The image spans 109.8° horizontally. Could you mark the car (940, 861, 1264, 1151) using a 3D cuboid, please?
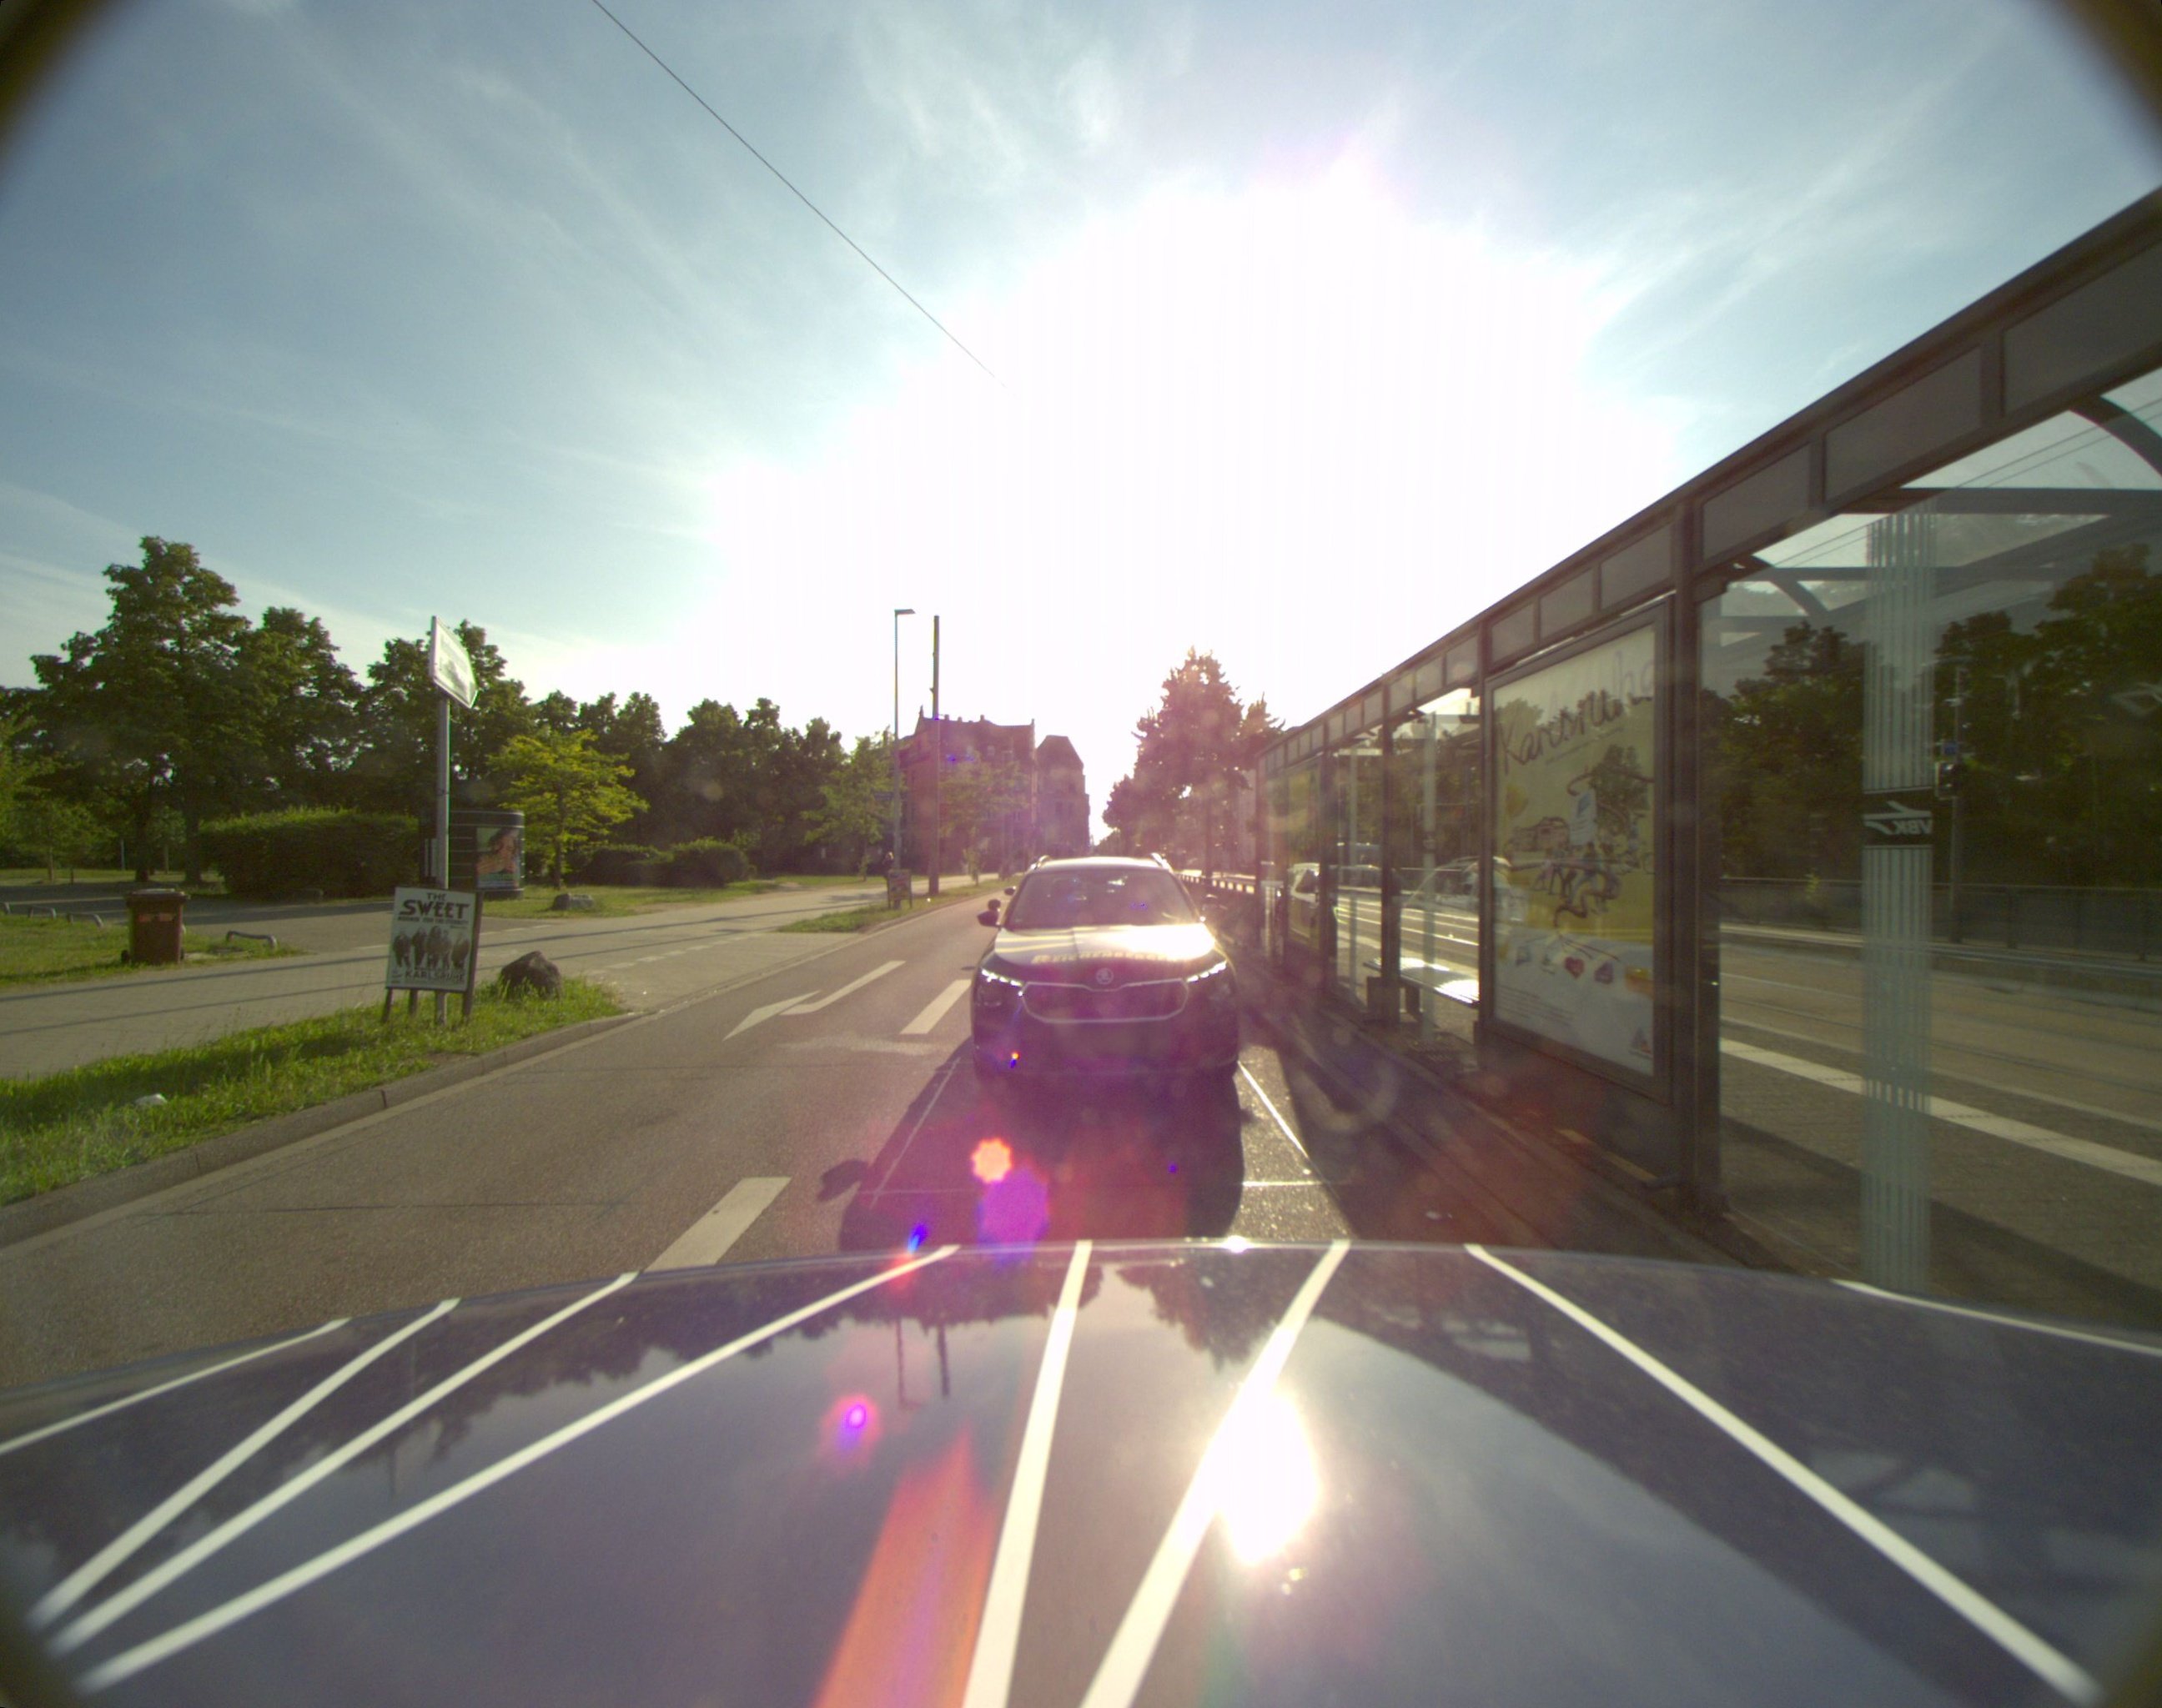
[{"bbox_3d":[0.151,0.861,6.311,1.756,1.534,4.235,-1,0,1],"label":"car"}]

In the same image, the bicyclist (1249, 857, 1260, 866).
[{"bbox_3d":[21.253,0.927,92.932,1.216,1.018,0.672,0,0,5],"label":"bicyclist"}]

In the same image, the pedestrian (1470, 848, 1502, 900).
[{"bbox_3d":[13.558,0.663,25.459,0.621,1.675,0.618,3,1,1],"label":"pedestrian"}]

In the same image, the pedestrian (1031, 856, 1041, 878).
[{"bbox_3d":[-3.080,0.882,52.154,0.637,1.512,0.845,-2,1,-1],"label":"pedestrian"}]

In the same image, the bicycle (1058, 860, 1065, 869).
[{"bbox_3d":[-1.825,0.973,70.676,0.567,0.789,2.041,0,0,0],"label":"bicycle"}]

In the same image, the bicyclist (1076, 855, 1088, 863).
[{"bbox_3d":[0.108,0.642,92.096,1.402,1.000,0.888,0,0,-1],"label":"bicyclist"}]

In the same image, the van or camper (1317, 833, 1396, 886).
[{"bbox_3d":[16.794,0.291,46.800,2.527,2.951,6.411,-2,1,1],"label":"van or camper"}]

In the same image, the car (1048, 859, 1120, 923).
[{"bbox_3d":[0.103,0.932,20.966,1.756,1.534,4.235,-1,0,1],"label":"car"}]

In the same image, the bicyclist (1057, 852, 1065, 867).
[{"bbox_3d":[-1.856,0.495,70.595,0.689,1.445,1.111,0,0,0],"label":"bicyclist"}]

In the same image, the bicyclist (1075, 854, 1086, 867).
[{"bbox_3d":[-0.067,0.798,95.161,1.402,1.538,0.888,0,0,-1],"label":"bicyclist"}]

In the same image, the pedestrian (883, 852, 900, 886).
[{"bbox_3d":[-9.418,0.729,37.780,0.621,1.675,0.618,-2,1,1],"label":"pedestrian"}]

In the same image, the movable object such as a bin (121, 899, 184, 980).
[{"bbox_3d":[-11.400,1.029,9.343,0.603,0.912,0.457,1,1,42],"label":"movable object such as a bin"}]

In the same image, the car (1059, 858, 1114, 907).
[{"bbox_3d":[0.199,0.924,26.875,1.756,1.534,4.235,-1,0,1],"label":"car"}]

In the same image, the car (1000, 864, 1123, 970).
[{"bbox_3d":[-0.251,0.947,13.230,1.756,1.451,4.235,-1,0,1],"label":"car"}]

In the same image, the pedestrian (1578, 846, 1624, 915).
[{"bbox_3d":[13.069,0.657,19.109,0.621,1.675,0.618,3,1,1],"label":"pedestrian"}]

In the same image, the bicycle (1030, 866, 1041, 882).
[{"bbox_3d":[-3.085,1.369,52.055,0.652,1.040,1.980,-2,1,-2],"label":"bicycle"}]

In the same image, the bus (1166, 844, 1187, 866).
[{"bbox_3d":[15.684,0.170,125.278,2.437,3.415,9.261,-2,1,1],"label":"bus"}]
